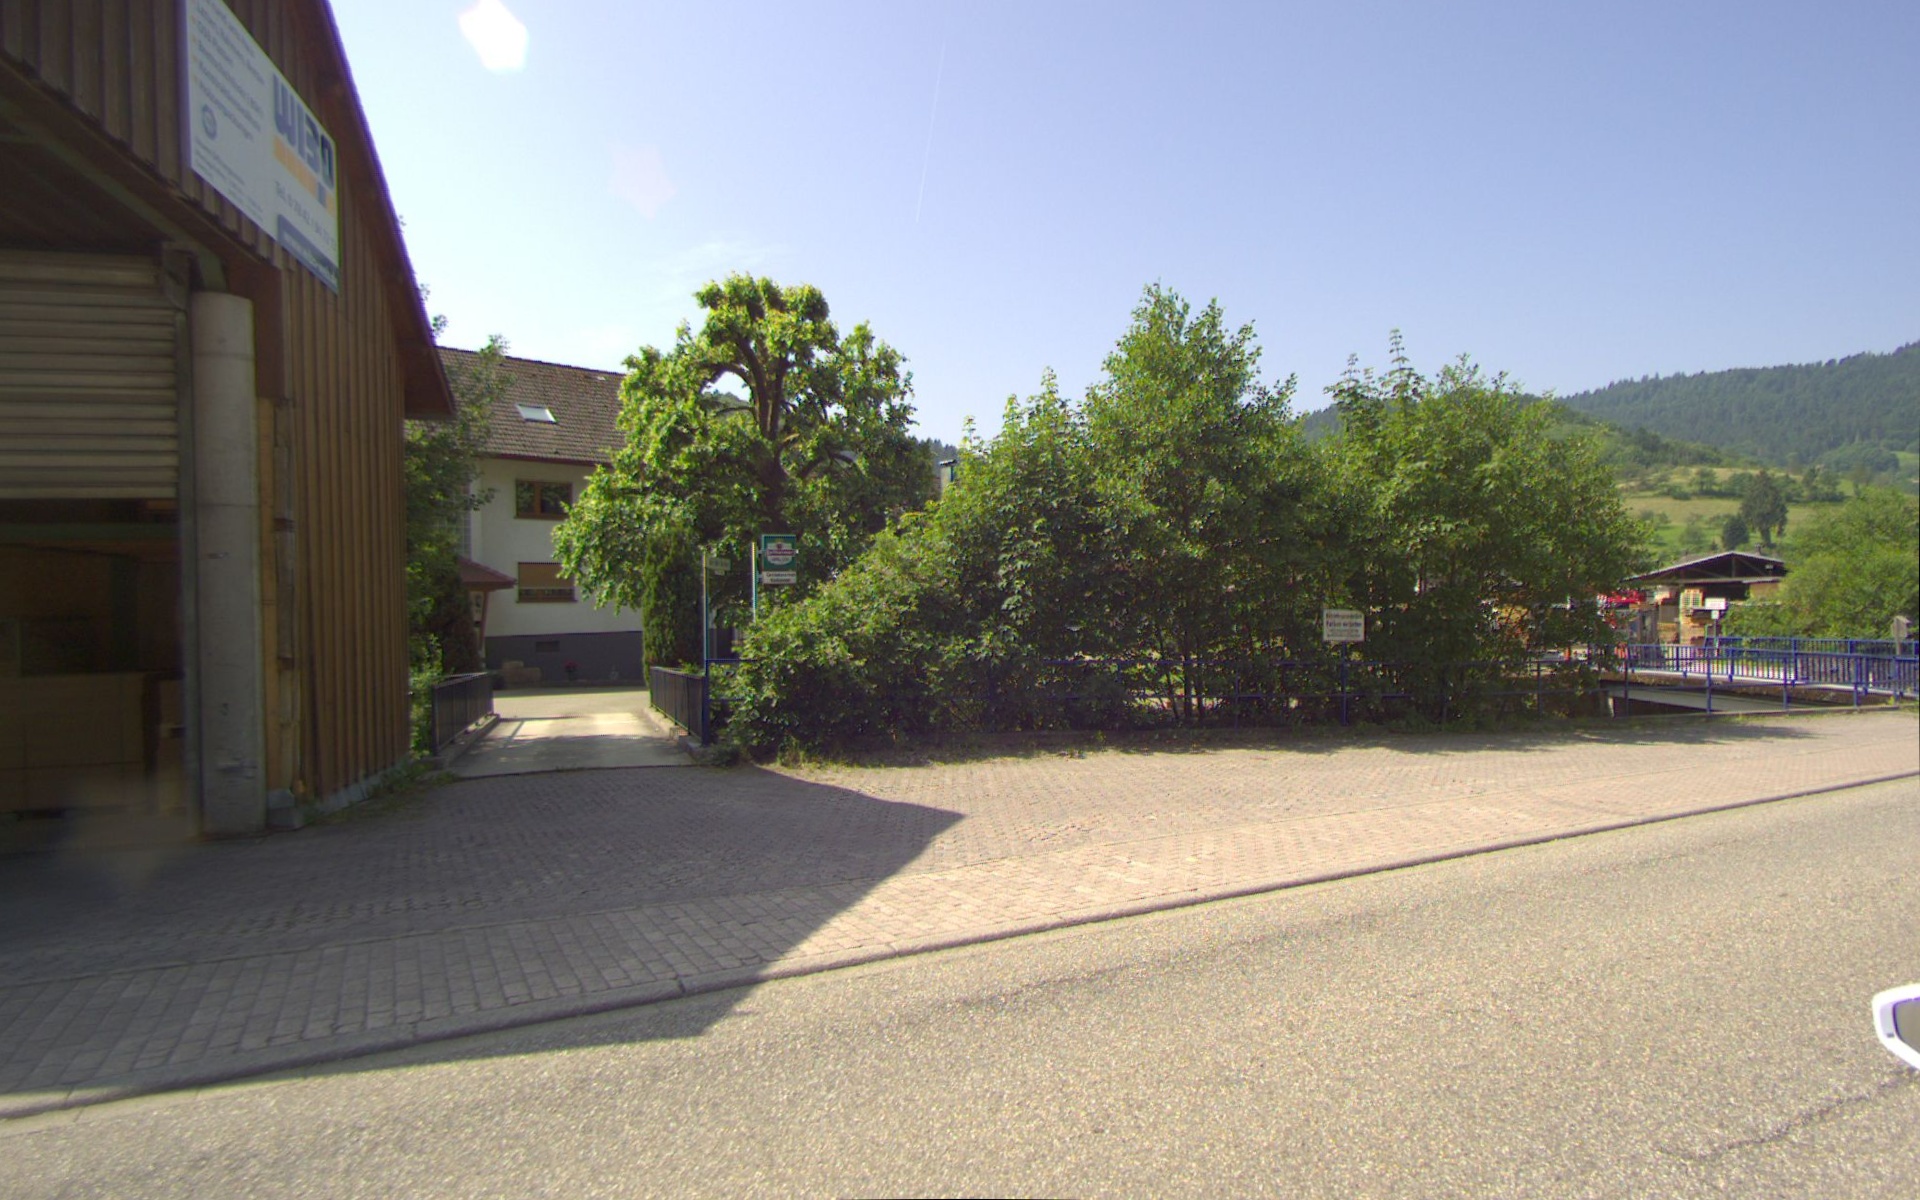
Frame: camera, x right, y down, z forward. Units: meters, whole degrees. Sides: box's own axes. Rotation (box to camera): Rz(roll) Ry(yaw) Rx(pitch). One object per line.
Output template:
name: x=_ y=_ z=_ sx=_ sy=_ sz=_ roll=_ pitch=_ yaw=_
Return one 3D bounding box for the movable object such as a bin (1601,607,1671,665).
movable object such as a bin: x=25.326 y=1.357 z=37.706 sx=1.114 sy=2.099 sz=2.126 roll=0 pitch=-2 yaw=-2

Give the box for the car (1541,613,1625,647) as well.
car: x=38.783 y=1.880 z=62.604 sx=3.919 sy=2.040 sz=2.002 roll=-1 pitch=-2 yaw=8
